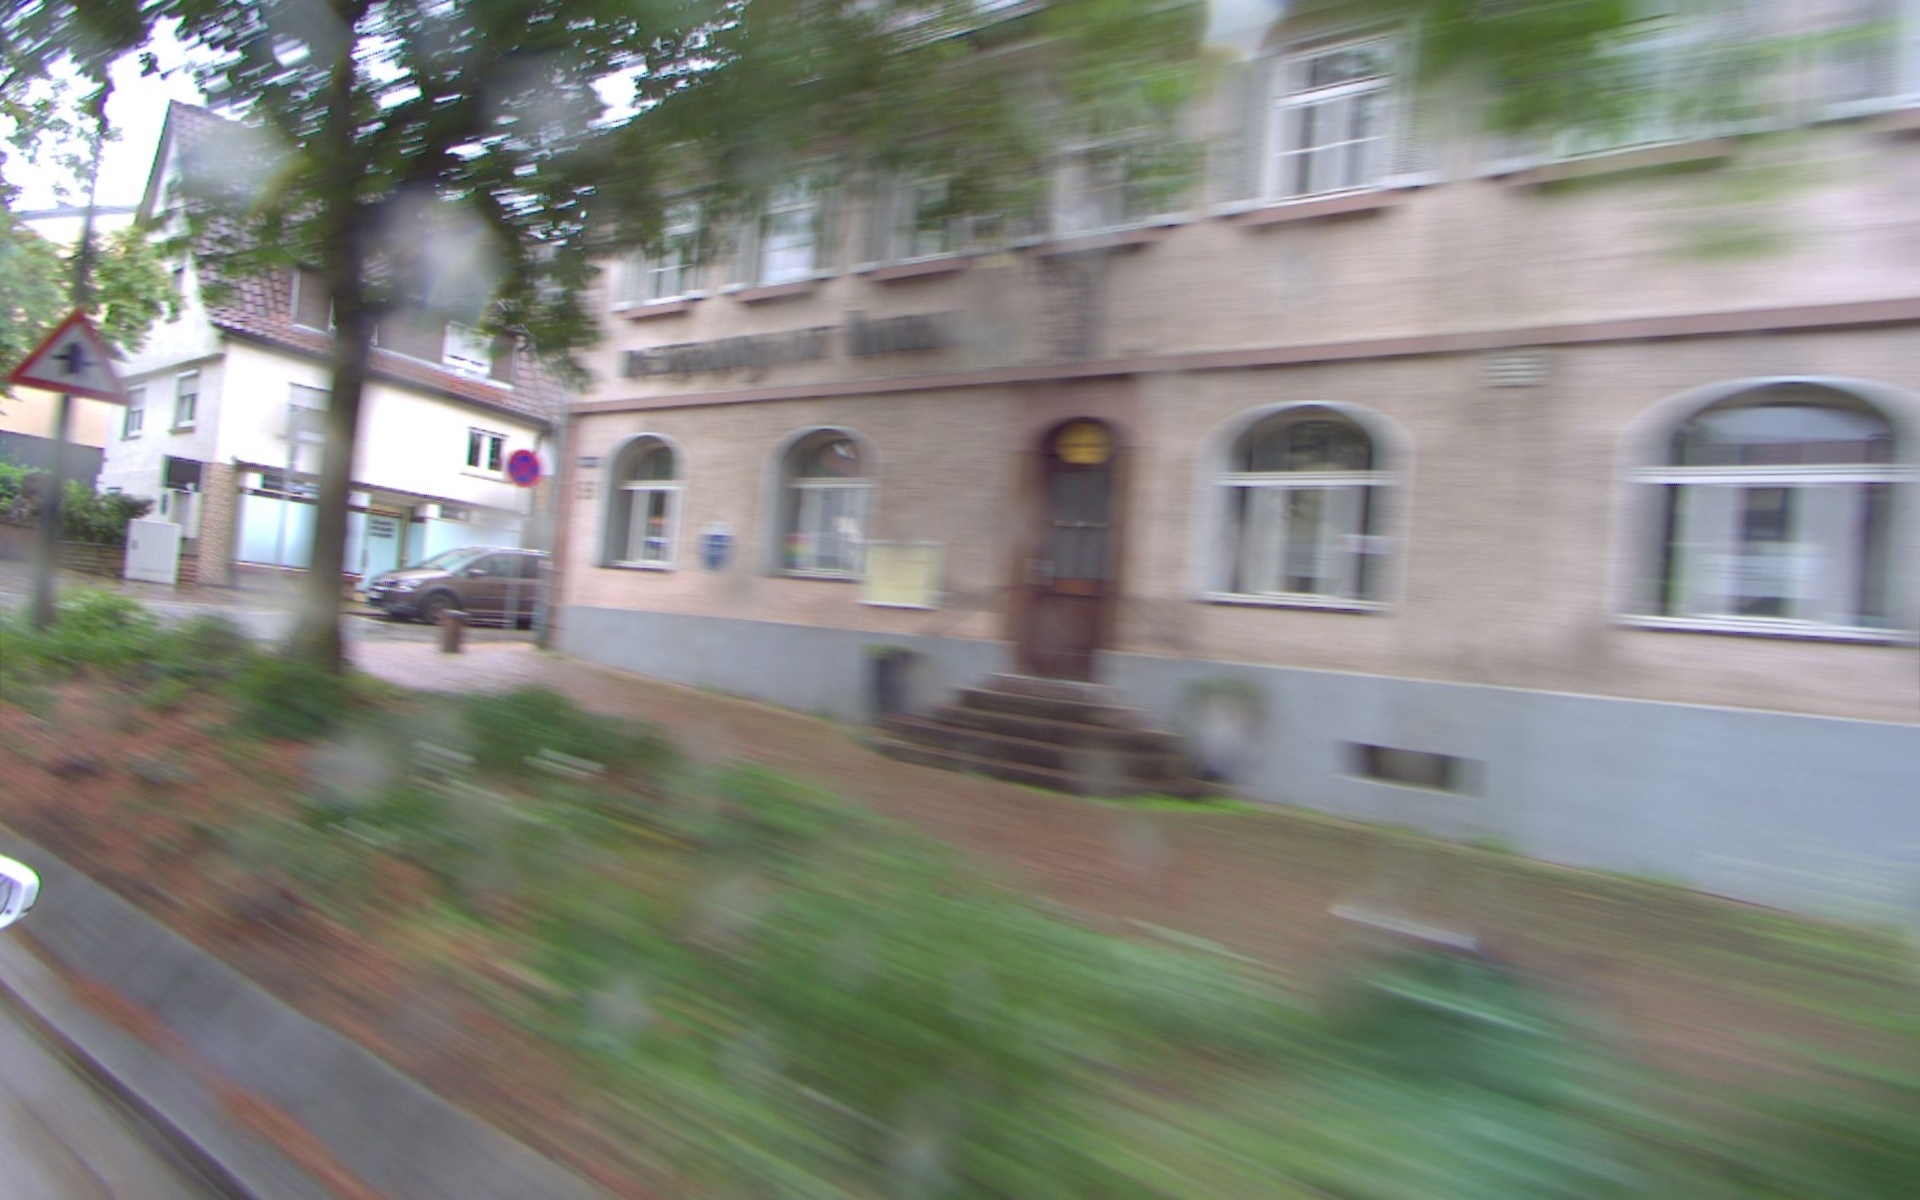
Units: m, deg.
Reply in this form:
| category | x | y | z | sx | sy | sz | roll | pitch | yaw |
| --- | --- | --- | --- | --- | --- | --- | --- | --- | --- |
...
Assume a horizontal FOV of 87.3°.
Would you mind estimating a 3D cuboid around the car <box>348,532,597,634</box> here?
| category | x | y | z | sx | sy | sz | roll | pitch | yaw |
| --- | --- | --- | --- | --- | --- | --- | --- | --- | --- |
| car | -9.955 | -0.290 | 20.833 | 1.812 | 1.603 | 4.180 | 7 | 0 | 37 |
